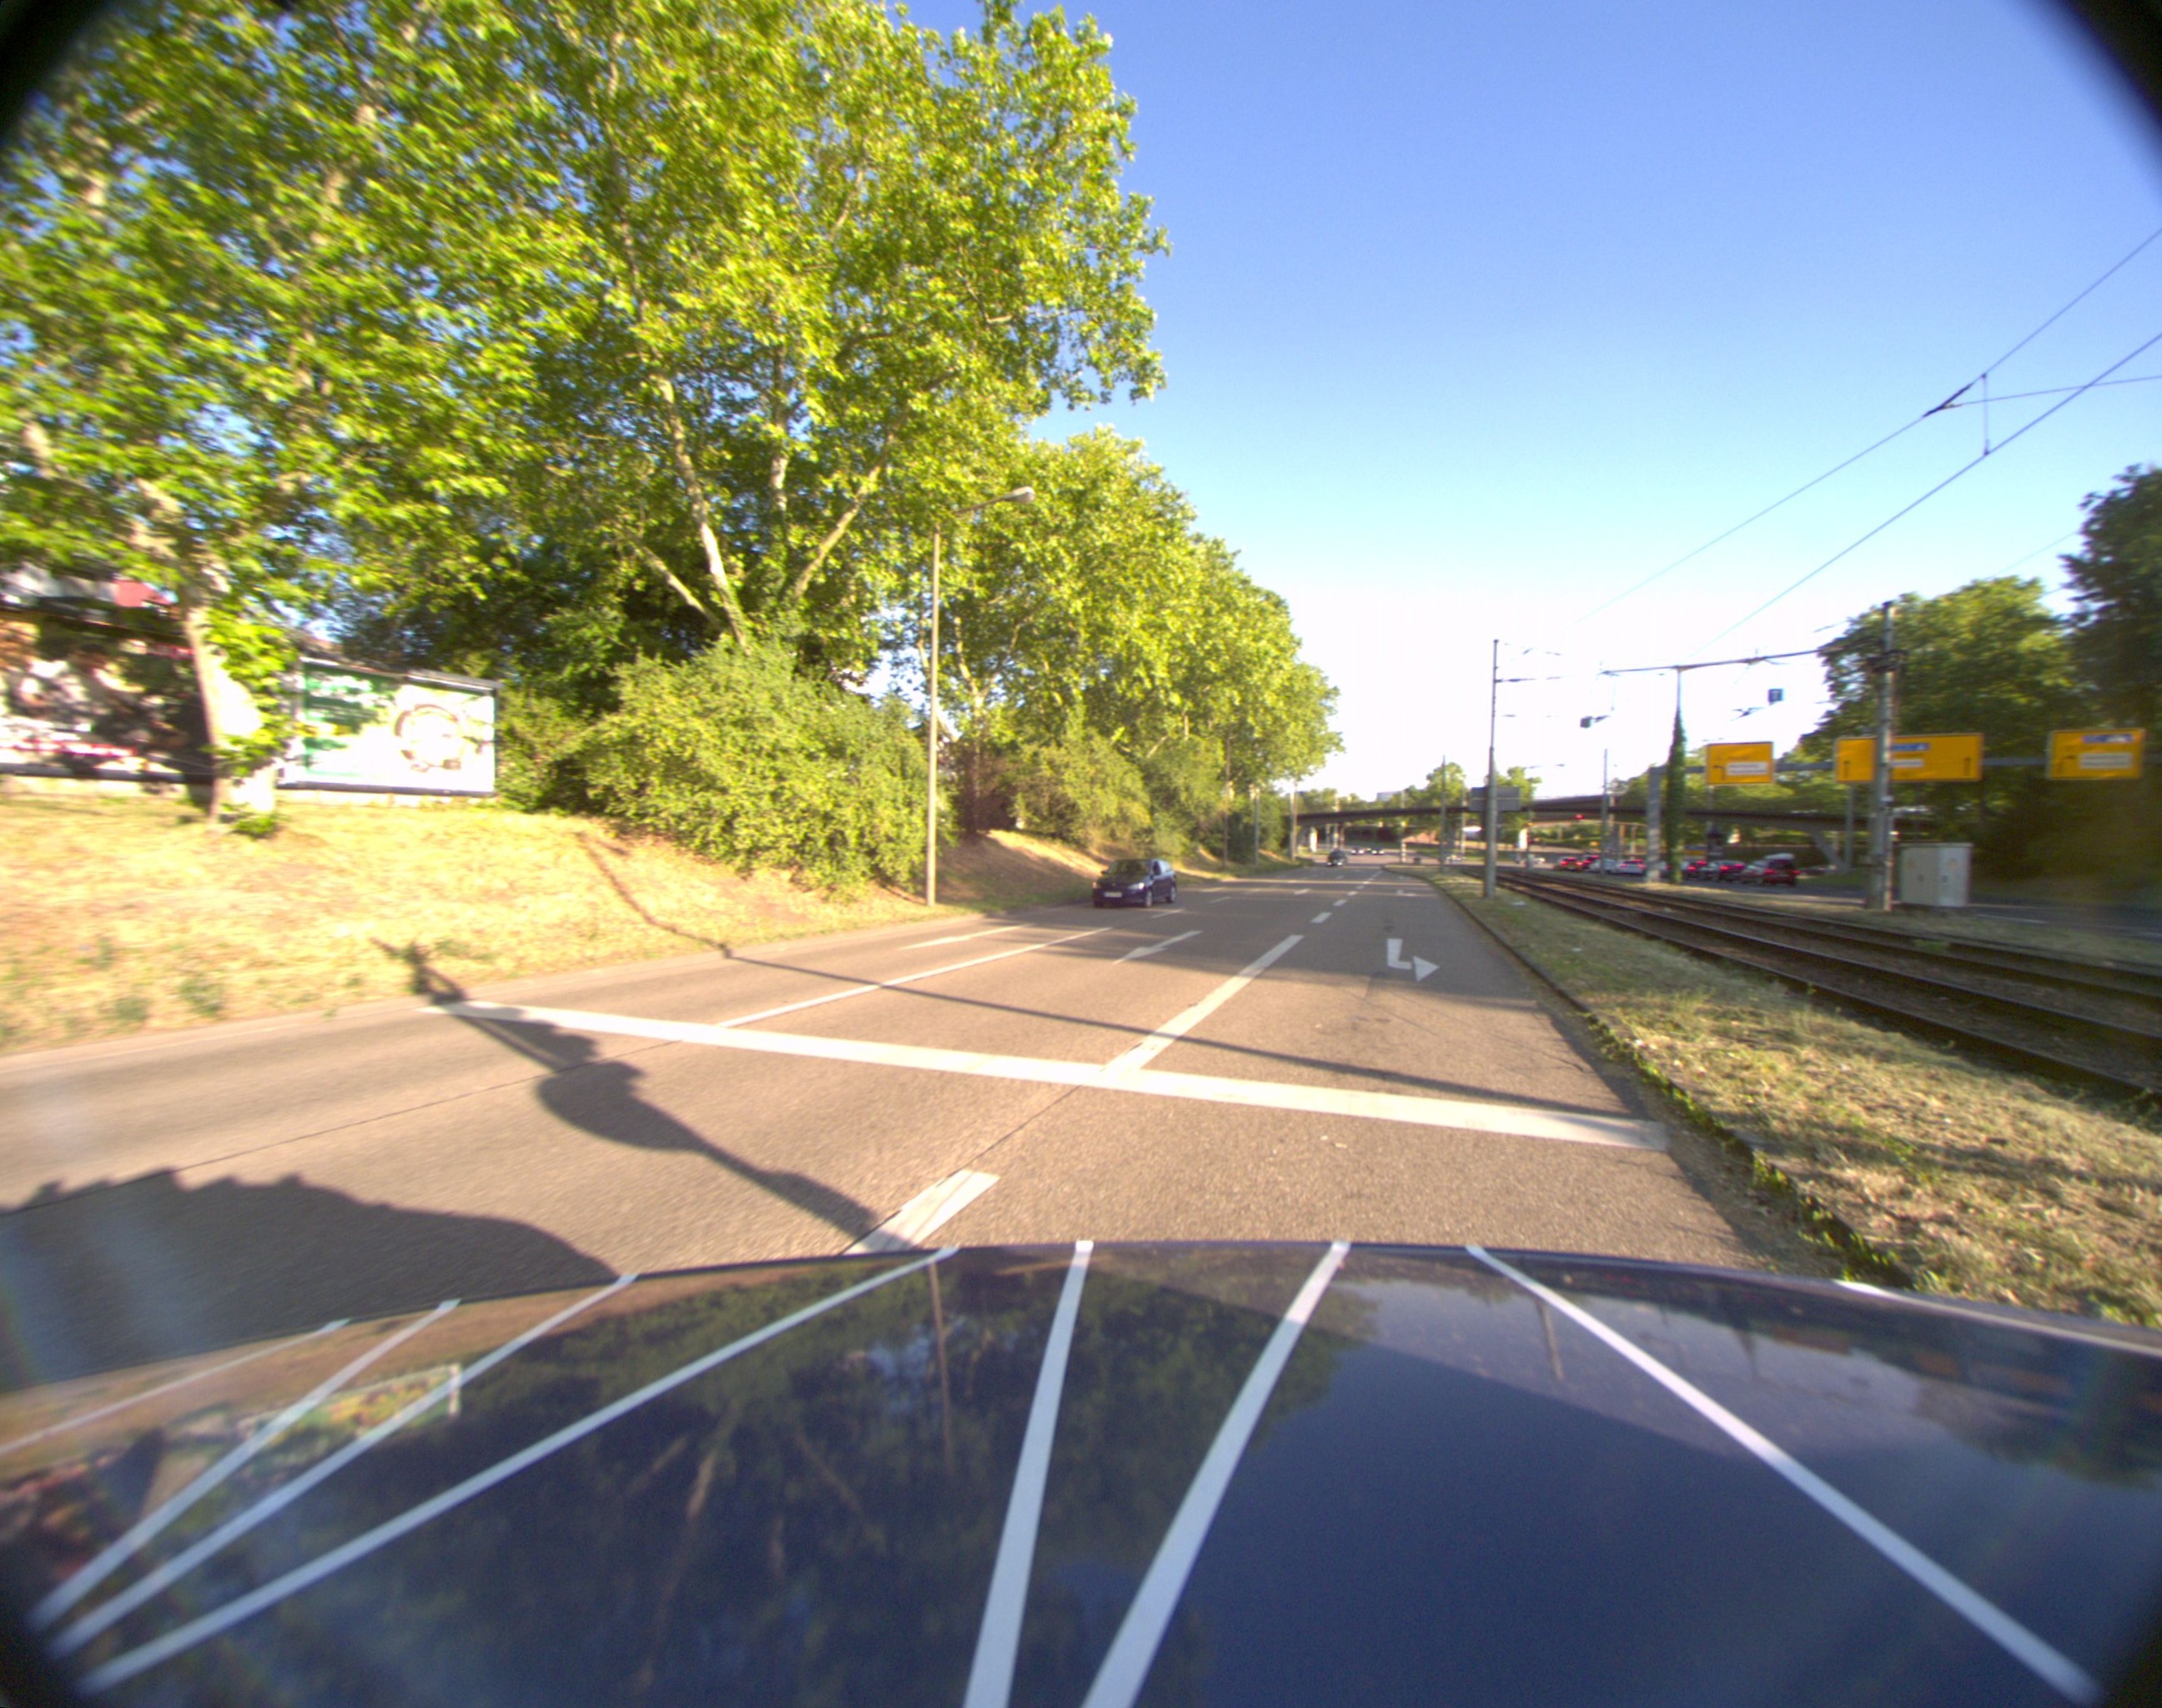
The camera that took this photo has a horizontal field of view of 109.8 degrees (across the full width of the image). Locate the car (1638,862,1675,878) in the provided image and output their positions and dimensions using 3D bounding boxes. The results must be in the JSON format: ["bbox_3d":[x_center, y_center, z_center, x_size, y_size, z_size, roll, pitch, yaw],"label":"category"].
[{"bbox_3d":[55.706,1.506,73.598,1.794,1.375,4.483,0,1,23],"label":"car"}]

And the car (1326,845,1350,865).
[{"bbox_3d":[27.790,0.109,82.151,1.995,2.150,4.198,0,1,24],"label":"car"}]

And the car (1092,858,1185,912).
[{"bbox_3d":[1.854,0.868,23.316,1.626,1.434,3.991,0,1,23],"label":"car"}]

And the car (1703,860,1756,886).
[{"bbox_3d":[46.935,1.355,55.091,1.794,1.740,4.247,0,1,23],"label":"car"}]

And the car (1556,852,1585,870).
[{"bbox_3d":[46.203,0.621,71.819,1.664,1.556,4.006,0,1,23],"label":"car"}]

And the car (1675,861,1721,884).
[{"bbox_3d":[49.433,1.466,60.956,1.794,1.740,4.006,0,1,23],"label":"car"}]

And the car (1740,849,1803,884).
[{"bbox_3d":[44.617,0.778,49.172,1.794,2.093,4.006,0,1,23],"label":"car"}]

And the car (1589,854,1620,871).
[{"bbox_3d":[50.878,0.801,73.879,1.742,1.424,4.418,3,2,25],"label":"car"}]

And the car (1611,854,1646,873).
[{"bbox_3d":[48.474,0.808,67.334,1.664,1.556,4.197,0,1,23],"label":"car"}]
